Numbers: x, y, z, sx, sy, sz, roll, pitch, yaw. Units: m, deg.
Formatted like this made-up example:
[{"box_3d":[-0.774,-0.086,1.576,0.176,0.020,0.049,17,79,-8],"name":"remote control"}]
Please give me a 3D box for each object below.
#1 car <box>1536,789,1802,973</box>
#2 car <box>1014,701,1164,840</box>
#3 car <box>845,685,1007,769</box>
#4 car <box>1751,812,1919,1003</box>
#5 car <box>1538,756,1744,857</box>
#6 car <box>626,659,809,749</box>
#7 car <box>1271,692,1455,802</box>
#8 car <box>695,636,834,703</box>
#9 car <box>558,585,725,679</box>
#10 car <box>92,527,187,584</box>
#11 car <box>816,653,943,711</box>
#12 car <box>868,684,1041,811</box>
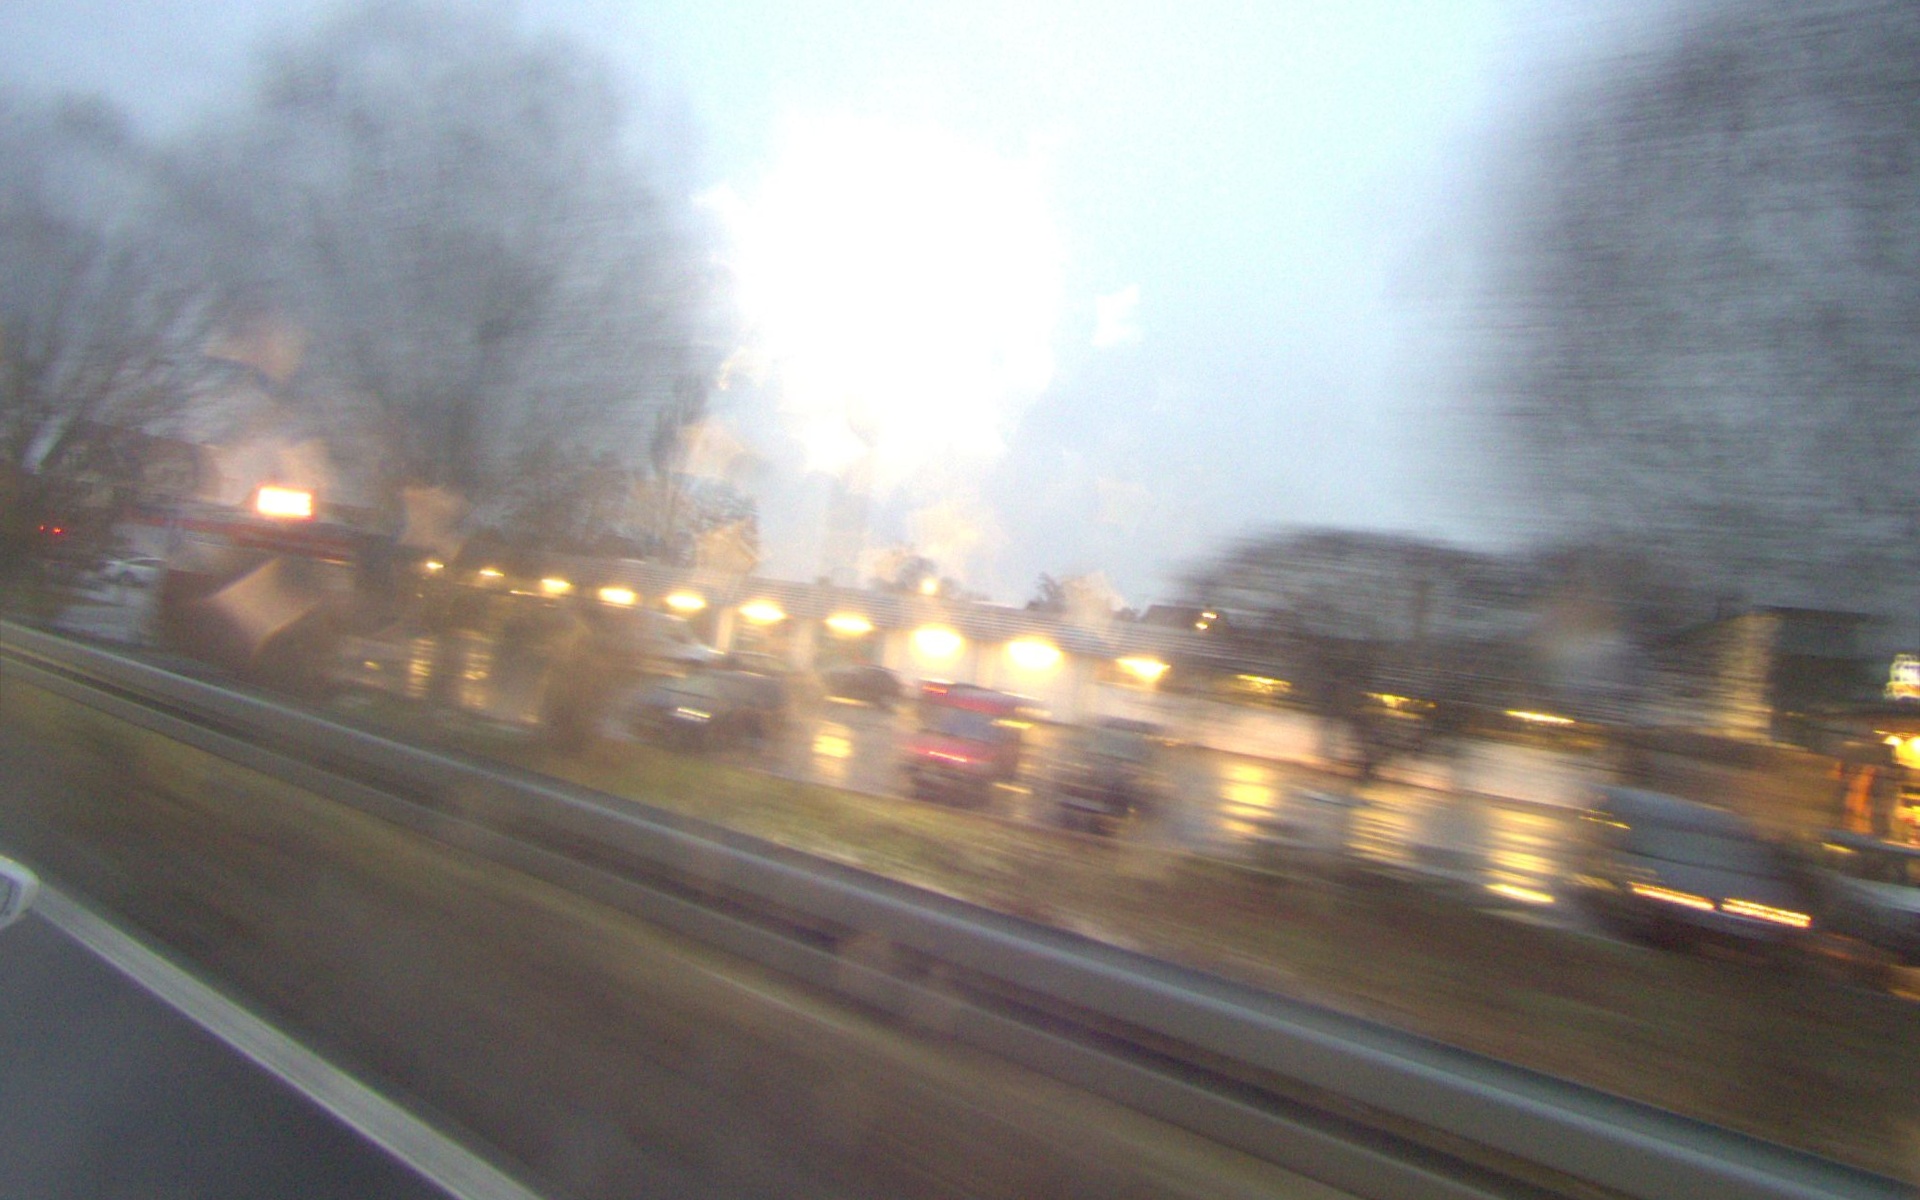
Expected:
[{"box_3d":[10.017,3.870,14.677,1.631,1.506,4.741,6,-3,17],"name":"car"},{"box_3d":[2.369,2.798,17.393,1.983,1.749,4.147,6,-3,14],"name":"car"},{"box_3d":[-1.046,3.793,30.181,4.299,2.041,2.097,7,-4,-17],"name":"car"},{"box_3d":[12.753,4.138,13.677,1.631,1.854,4.149,6,-4,18],"name":"car"},{"box_3d":[17.548,5.306,25.979,4.299,2.041,2.097,7,-4,-17],"name":"car"},{"box_3d":[-4.709,2.090,20.033,1.632,1.438,3.552,6,-4,22],"name":"car"},{"box_3d":[11.169,4.056,27.942,4.301,2.548,2.096,7,-4,-18],"name":"car"},{"box_3d":[-6.640,2.361,34.074,4.299,1.781,2.097,7,-4,-17],"name":"car"},{"box_3d":[-11.782,1.250,37.537,5.546,2.806,2.097,7,-4,-17],"name":"car"},{"box_3d":[-37.693,-2.050,46.191,3.934,2.035,1.999,7,-3,32],"name":"car"},{"box_3d":[-3.047,3.069,37.776,4.299,1.686,2.097,7,-4,-17],"name":"car"},{"box_3d":[0.054,2.550,18.352,1.983,1.744,4.146,7,-2,15],"name":"car"}]
